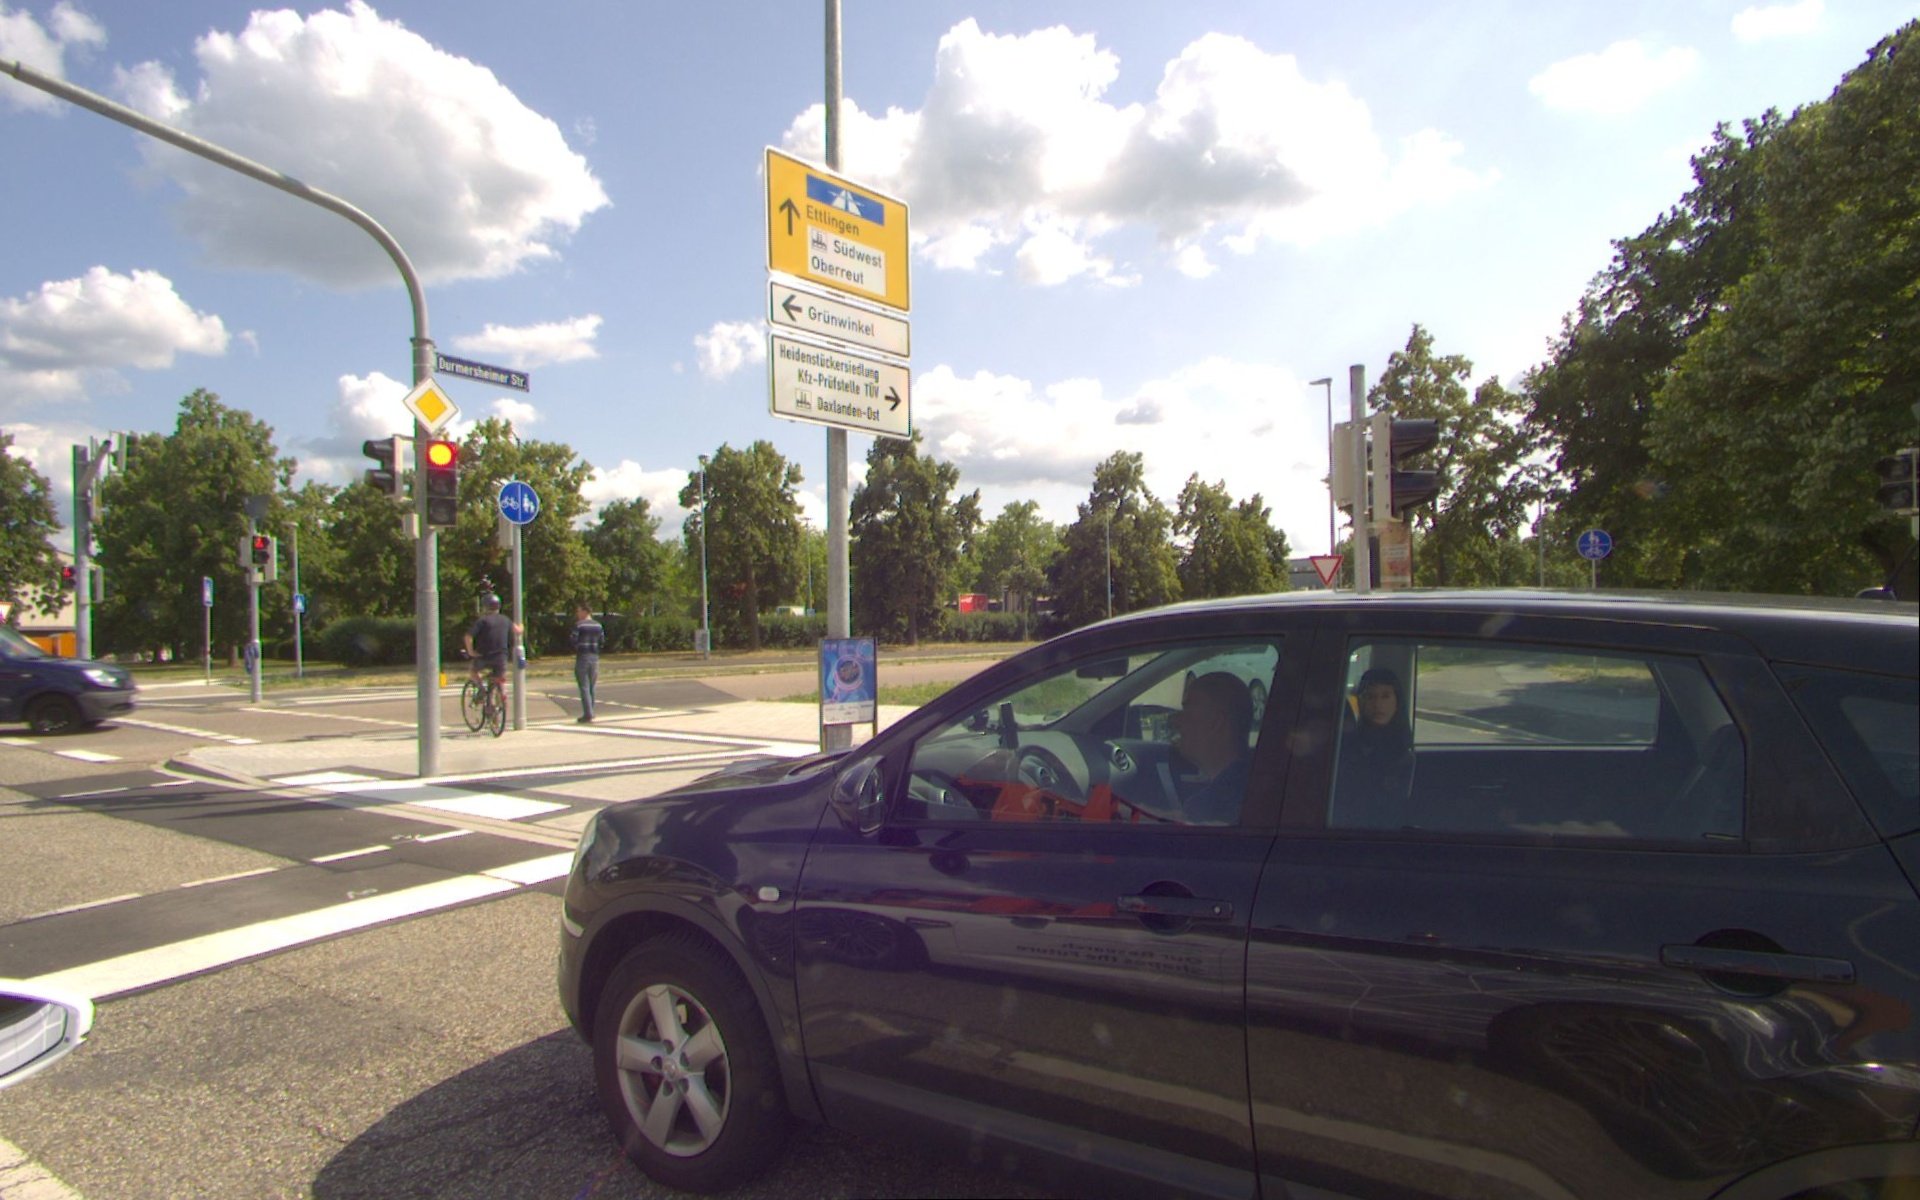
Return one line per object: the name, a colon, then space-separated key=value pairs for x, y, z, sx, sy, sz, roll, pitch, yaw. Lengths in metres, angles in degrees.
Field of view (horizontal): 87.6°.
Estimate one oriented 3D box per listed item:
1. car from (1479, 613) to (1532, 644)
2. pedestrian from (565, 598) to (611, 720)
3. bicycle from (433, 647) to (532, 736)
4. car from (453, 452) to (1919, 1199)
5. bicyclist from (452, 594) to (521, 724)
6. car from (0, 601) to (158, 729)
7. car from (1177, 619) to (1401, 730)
car: x=23.170 y=1.247 z=42.623 sx=1.886 sy=1.192 sz=3.767 roll=-2 pitch=-4 yaw=27
pedestrian: x=-5.615 y=0.893 z=15.102 sx=0.477 sy=1.800 sz=0.462 roll=-2 pitch=-3 yaw=42
bicycle: x=-6.496 y=1.215 z=13.576 sx=0.644 sy=1.121 sz=1.910 roll=3 pitch=-4 yaw=-43
car: x=0.670 y=0.674 z=2.710 sx=3.941 sy=1.571 sz=1.798 roll=-2 pitch=-4 yaw=31
bicyclist: x=-6.362 y=0.791 z=13.453 sx=0.644 sy=1.682 sz=0.644 roll=2 pitch=-4 yaw=-44
car: x=-13.784 y=0.882 z=13.618 sx=4.168 sy=1.680 sz=1.734 roll=2 pitch=-3 yaw=-27
car: x=4.967 y=1.068 z=15.759 sx=1.705 sy=1.505 sz=4.091 roll=0 pitch=-1 yaw=-9
